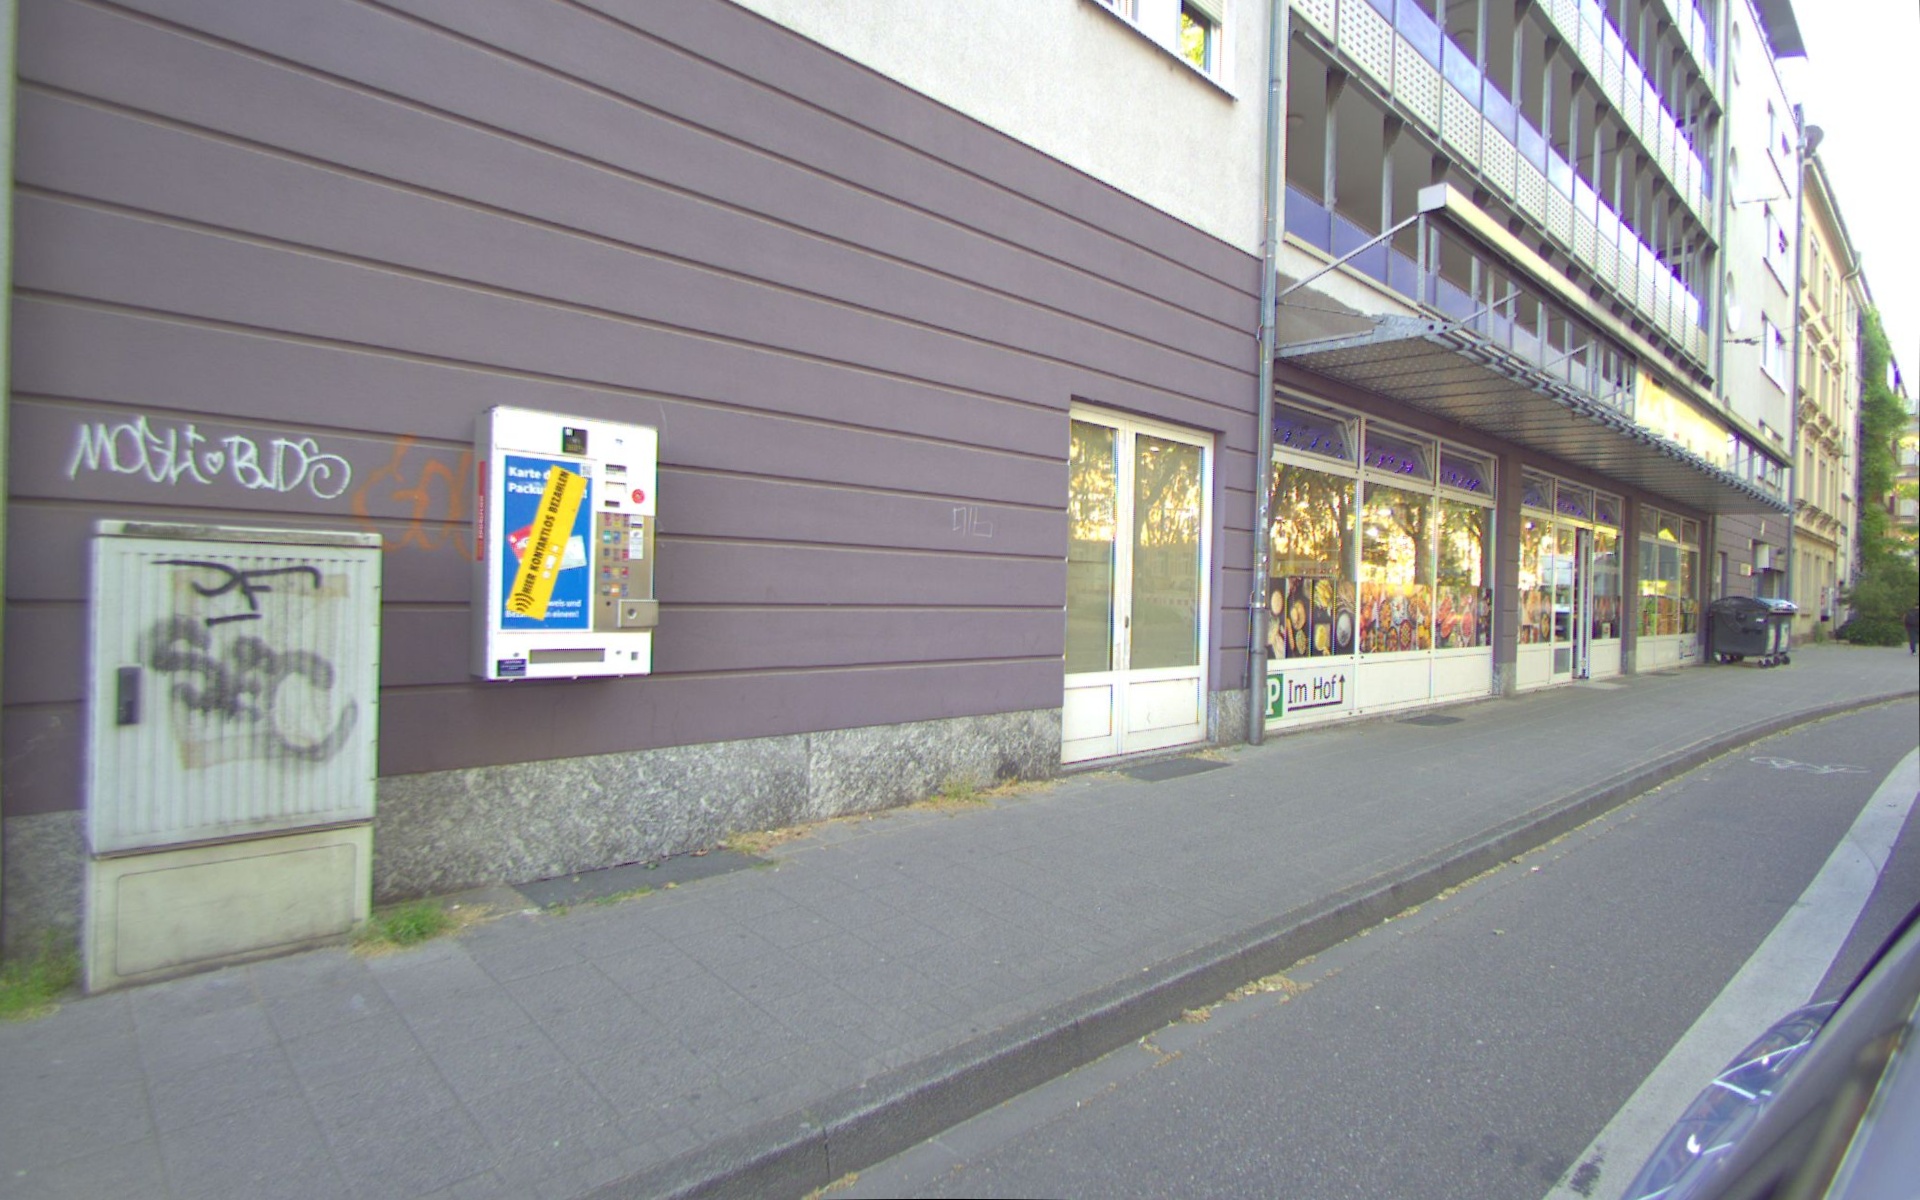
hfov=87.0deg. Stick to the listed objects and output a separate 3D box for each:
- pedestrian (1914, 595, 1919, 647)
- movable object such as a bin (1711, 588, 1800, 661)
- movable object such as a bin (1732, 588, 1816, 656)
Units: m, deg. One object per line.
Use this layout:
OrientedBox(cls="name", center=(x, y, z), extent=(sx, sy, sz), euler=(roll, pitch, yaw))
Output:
OrientedBox(cls="pedestrian", center=(27.377, 0.606, 28.586), extent=(0.619, 1.463, 0.540), euler=(1, 1, -41))
OrientedBox(cls="movable object such as a bin", center=(16.455, 0.486, 20.936), extent=(1.348, 1.427, 1.203), euler=(1, 1, -41))
OrientedBox(cls="movable object such as a bin", center=(17.904, 0.464, 22.265), extent=(1.348, 1.427, 1.203), euler=(1, 1, -41))
